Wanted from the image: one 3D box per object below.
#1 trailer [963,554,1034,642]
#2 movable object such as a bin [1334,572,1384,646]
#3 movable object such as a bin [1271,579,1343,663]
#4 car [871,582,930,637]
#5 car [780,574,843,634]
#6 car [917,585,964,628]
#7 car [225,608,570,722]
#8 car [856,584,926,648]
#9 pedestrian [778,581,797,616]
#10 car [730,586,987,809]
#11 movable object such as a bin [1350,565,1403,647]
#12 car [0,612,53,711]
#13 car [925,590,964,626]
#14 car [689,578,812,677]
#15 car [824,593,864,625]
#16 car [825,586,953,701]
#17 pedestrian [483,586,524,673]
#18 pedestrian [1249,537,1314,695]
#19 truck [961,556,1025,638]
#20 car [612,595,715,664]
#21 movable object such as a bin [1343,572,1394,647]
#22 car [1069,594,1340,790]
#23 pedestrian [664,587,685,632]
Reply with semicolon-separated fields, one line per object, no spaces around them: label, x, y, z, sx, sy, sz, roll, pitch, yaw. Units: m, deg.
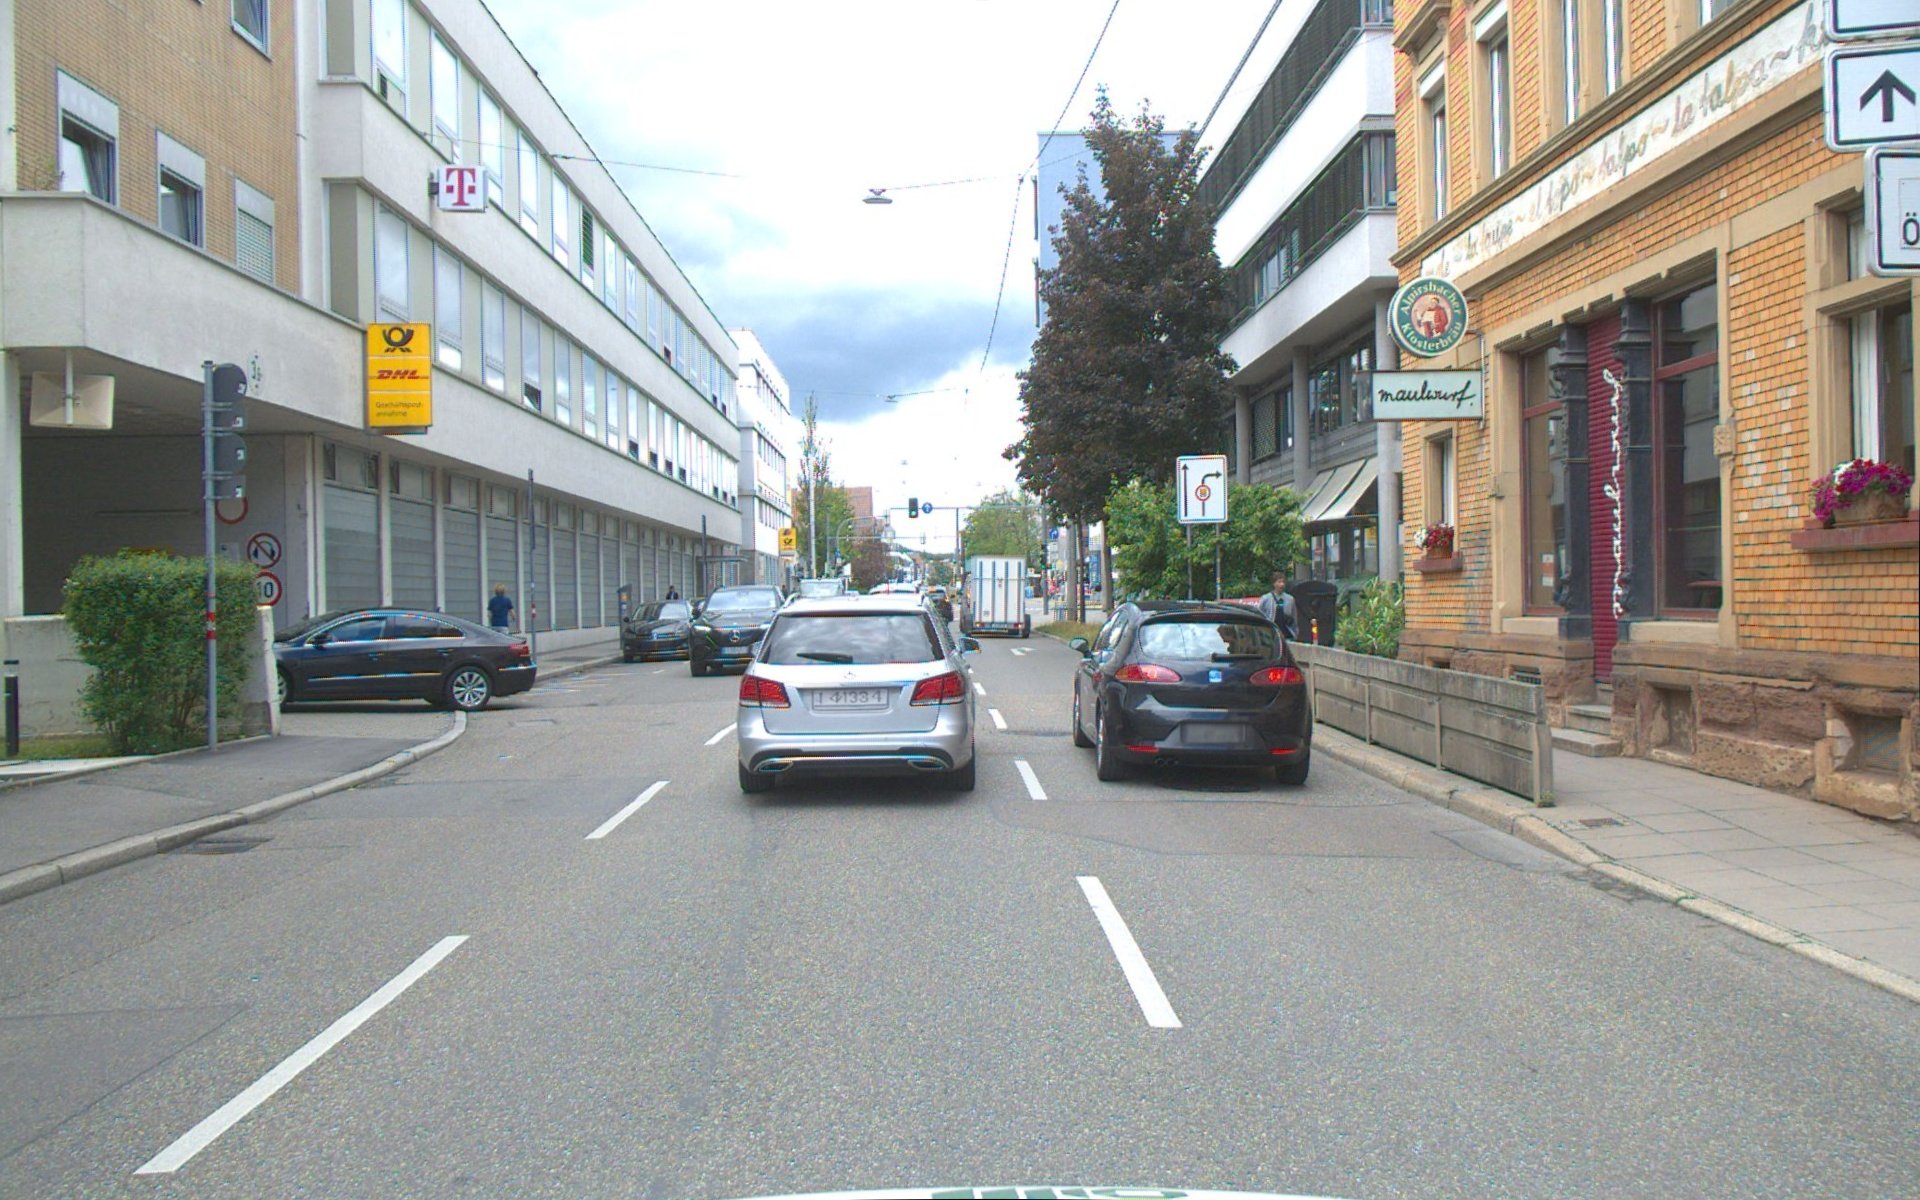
trailer;1.183;-0.077;53.022;1.953;2.653;5.347;-1;0;-2
movable object such as a bin;8.532;0.197;35.357;0.804;1.530;0.732;-3;-1;0
movable object such as a bin;6.518;0.385;31.165;0.924;1.496;1.444;-3;0;-4
car;-1.850;0.273;51.479;1.767;1.629;3.736;0;0;-2
car;-5.414;0.125;60.823;1.953;2.048;4.900;-3;0;-2
car;-0.780;0.225;65.123;1.767;1.629;3.736;0;0;-2
car;-7.907;0.852;23.356;4.354;1.389;1.767;-1;0;-31
car;-1.807;0.400;43.751;1.767;1.629;3.736;0;0;-2
pedestrian;-9.417;-0.083;90.309;0.899;1.901;0.783;-1;0;-2
car;-0.765;0.663;13.402;1.767;1.519;3.736;-1;0;-2
movable object such as a bin;8.525;0.133;33.845;0.804;1.617;0.732;-3;-1;0
car;-15.409;0.927;24.689;1.718;1.482;3.690;1;0;-1
car;-0.740;0.345;77.798;1.767;1.629;3.736;0;0;-2
car;-4.131;0.492;33.244;1.953;1.769;4.552;-2;0;-2
car;-5.608;0.438;80.275;1.733;1.438;4.173;-2;0;-2
car;-1.048;0.595;24.960;1.767;1.580;3.736;-1;0;-2
pedestrian;-9.599;0.603;34.777;0.629;1.800;0.809;-1;0;-2
pedestrian;4.245;0.205;21.858;0.679;2.049;0.676;-1;0;-3
truck;1.098;-0.103;55.810;1.953;2.653;3.259;-1;0;-2
car;-7.257;0.679;40.832;1.874;1.543;4.173;-2;0;-2
movable object such as a bin;8.541;0.199;34.600;0.804;1.516;0.732;-3;-1;0
car;2.003;0.693;14.583;1.730;1.458;3.827;-1;0;-1
pedestrian;-10.569;0.361;61.230;0.642;1.651;0.681;-1;0;0
